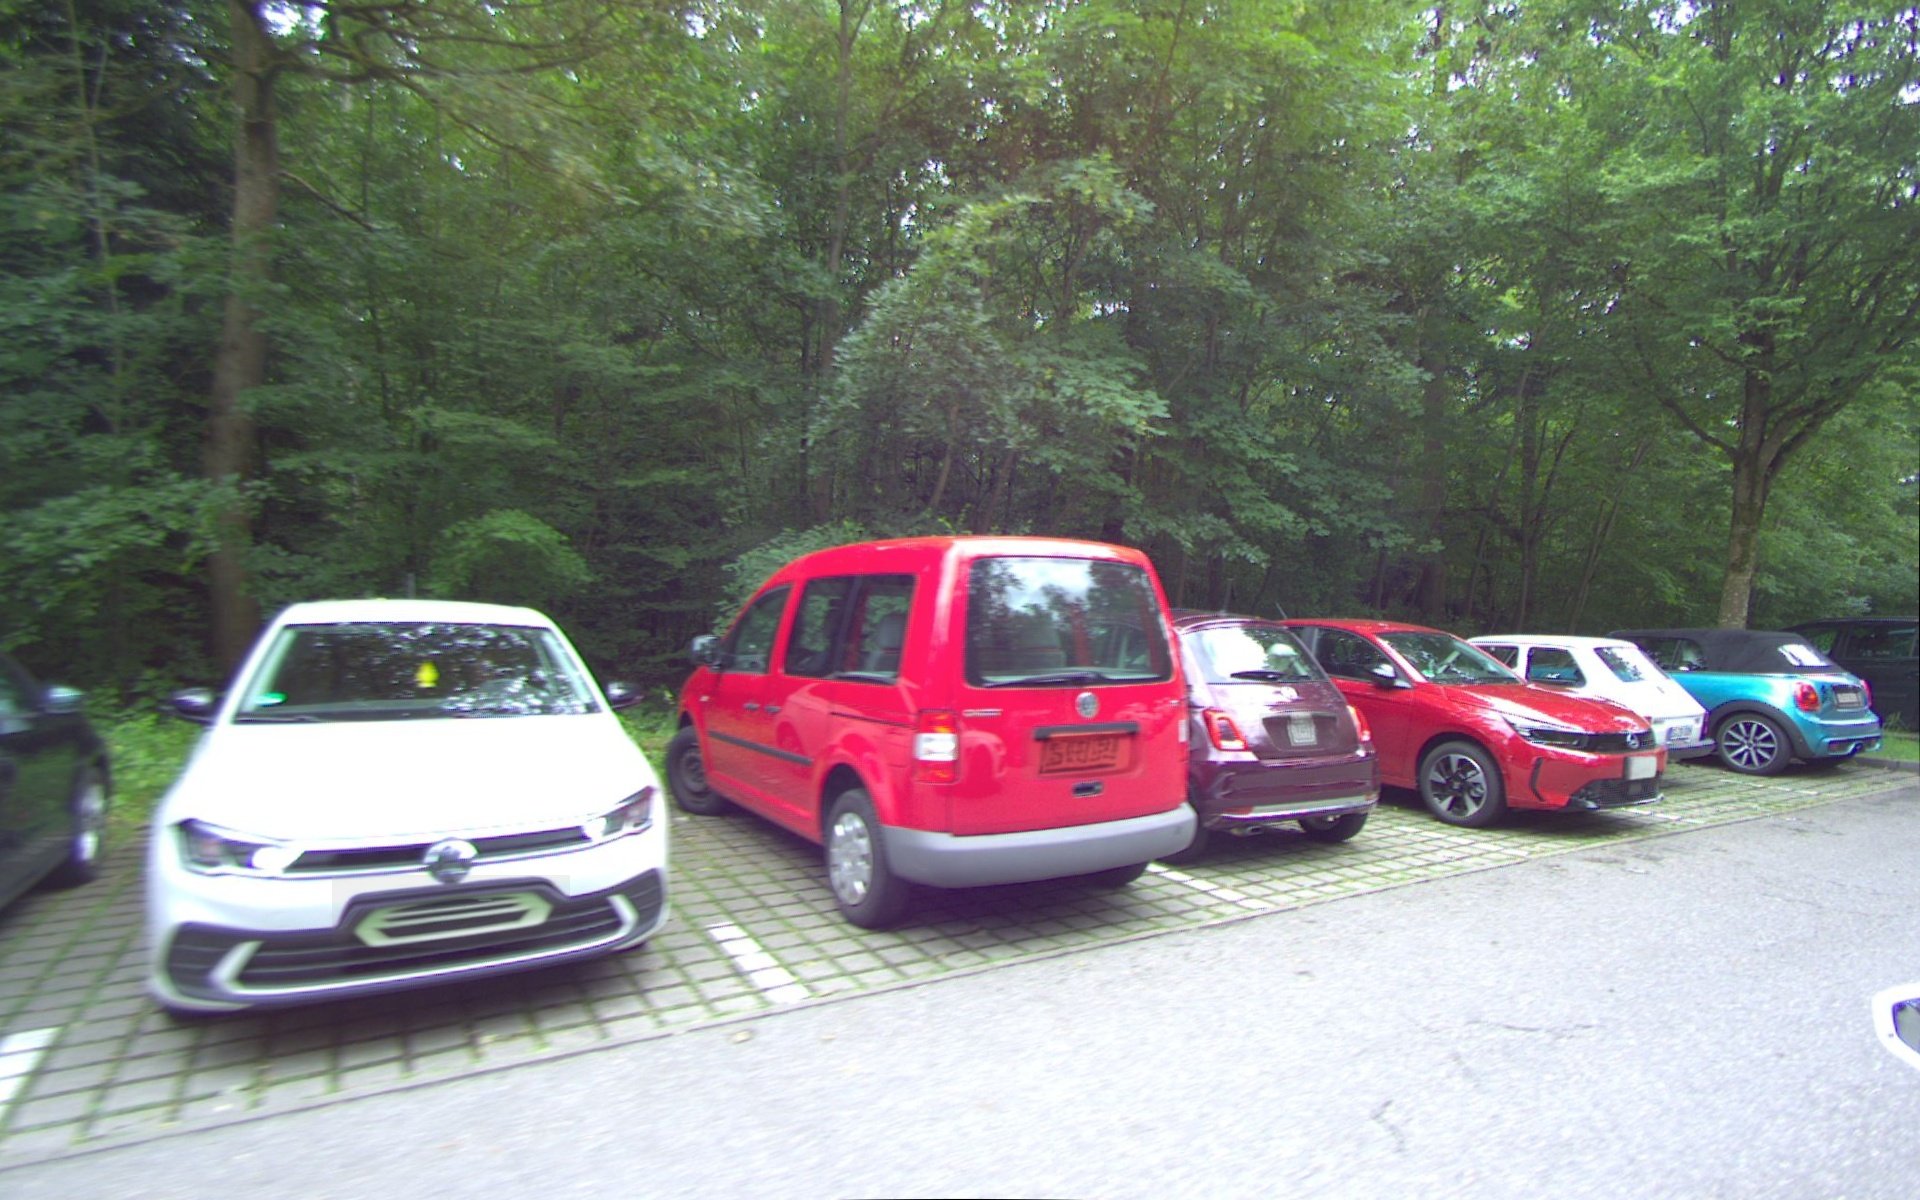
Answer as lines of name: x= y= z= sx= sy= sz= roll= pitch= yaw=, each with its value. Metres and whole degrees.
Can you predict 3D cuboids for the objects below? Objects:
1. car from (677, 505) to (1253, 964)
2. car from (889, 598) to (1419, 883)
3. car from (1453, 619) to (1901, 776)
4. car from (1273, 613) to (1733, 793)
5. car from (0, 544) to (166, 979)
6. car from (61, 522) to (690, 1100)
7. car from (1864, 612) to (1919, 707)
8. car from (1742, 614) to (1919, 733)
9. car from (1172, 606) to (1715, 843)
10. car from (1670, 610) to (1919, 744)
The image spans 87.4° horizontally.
car: x=-0.327 y=0.560 z=6.214 sx=1.797 sy=1.839 sz=3.968 roll=1 pitch=-1 yaw=-30
car: x=1.135 y=0.779 z=7.601 sx=1.796 sy=1.536 sz=3.969 roll=1 pitch=-1 yaw=-30
car: x=8.083 y=0.984 z=11.754 sx=1.674 sy=1.467 sz=3.972 roll=1 pitch=-1 yaw=-27
car: x=5.442 y=0.910 z=10.608 sx=1.750 sy=1.467 sz=3.969 roll=1 pitch=-1 yaw=-29
car: x=-4.533 y=0.585 z=3.744 sx=1.720 sy=1.618 sz=3.971 roll=1 pitch=-1 yaw=-28
car: x=-2.667 y=0.612 z=4.990 sx=1.720 sy=1.618 sz=3.971 roll=1 pitch=-1 yaw=-28
car: x=18.557 y=1.082 z=17.406 sx=1.794 sy=1.684 sz=3.966 roll=1 pitch=-1 yaw=-31
car: x=14.420 y=1.076 z=15.001 sx=1.792 sy=1.684 sz=3.969 roll=1 pitch=-1 yaw=-29
car: x=3.856 y=0.841 z=8.731 sx=1.750 sy=1.536 sz=3.969 roll=1 pitch=-1 yaw=-29
car: x=12.334 y=0.990 z=13.738 sx=1.677 sy=1.684 sz=3.966 roll=1 pitch=-1 yaw=-31
